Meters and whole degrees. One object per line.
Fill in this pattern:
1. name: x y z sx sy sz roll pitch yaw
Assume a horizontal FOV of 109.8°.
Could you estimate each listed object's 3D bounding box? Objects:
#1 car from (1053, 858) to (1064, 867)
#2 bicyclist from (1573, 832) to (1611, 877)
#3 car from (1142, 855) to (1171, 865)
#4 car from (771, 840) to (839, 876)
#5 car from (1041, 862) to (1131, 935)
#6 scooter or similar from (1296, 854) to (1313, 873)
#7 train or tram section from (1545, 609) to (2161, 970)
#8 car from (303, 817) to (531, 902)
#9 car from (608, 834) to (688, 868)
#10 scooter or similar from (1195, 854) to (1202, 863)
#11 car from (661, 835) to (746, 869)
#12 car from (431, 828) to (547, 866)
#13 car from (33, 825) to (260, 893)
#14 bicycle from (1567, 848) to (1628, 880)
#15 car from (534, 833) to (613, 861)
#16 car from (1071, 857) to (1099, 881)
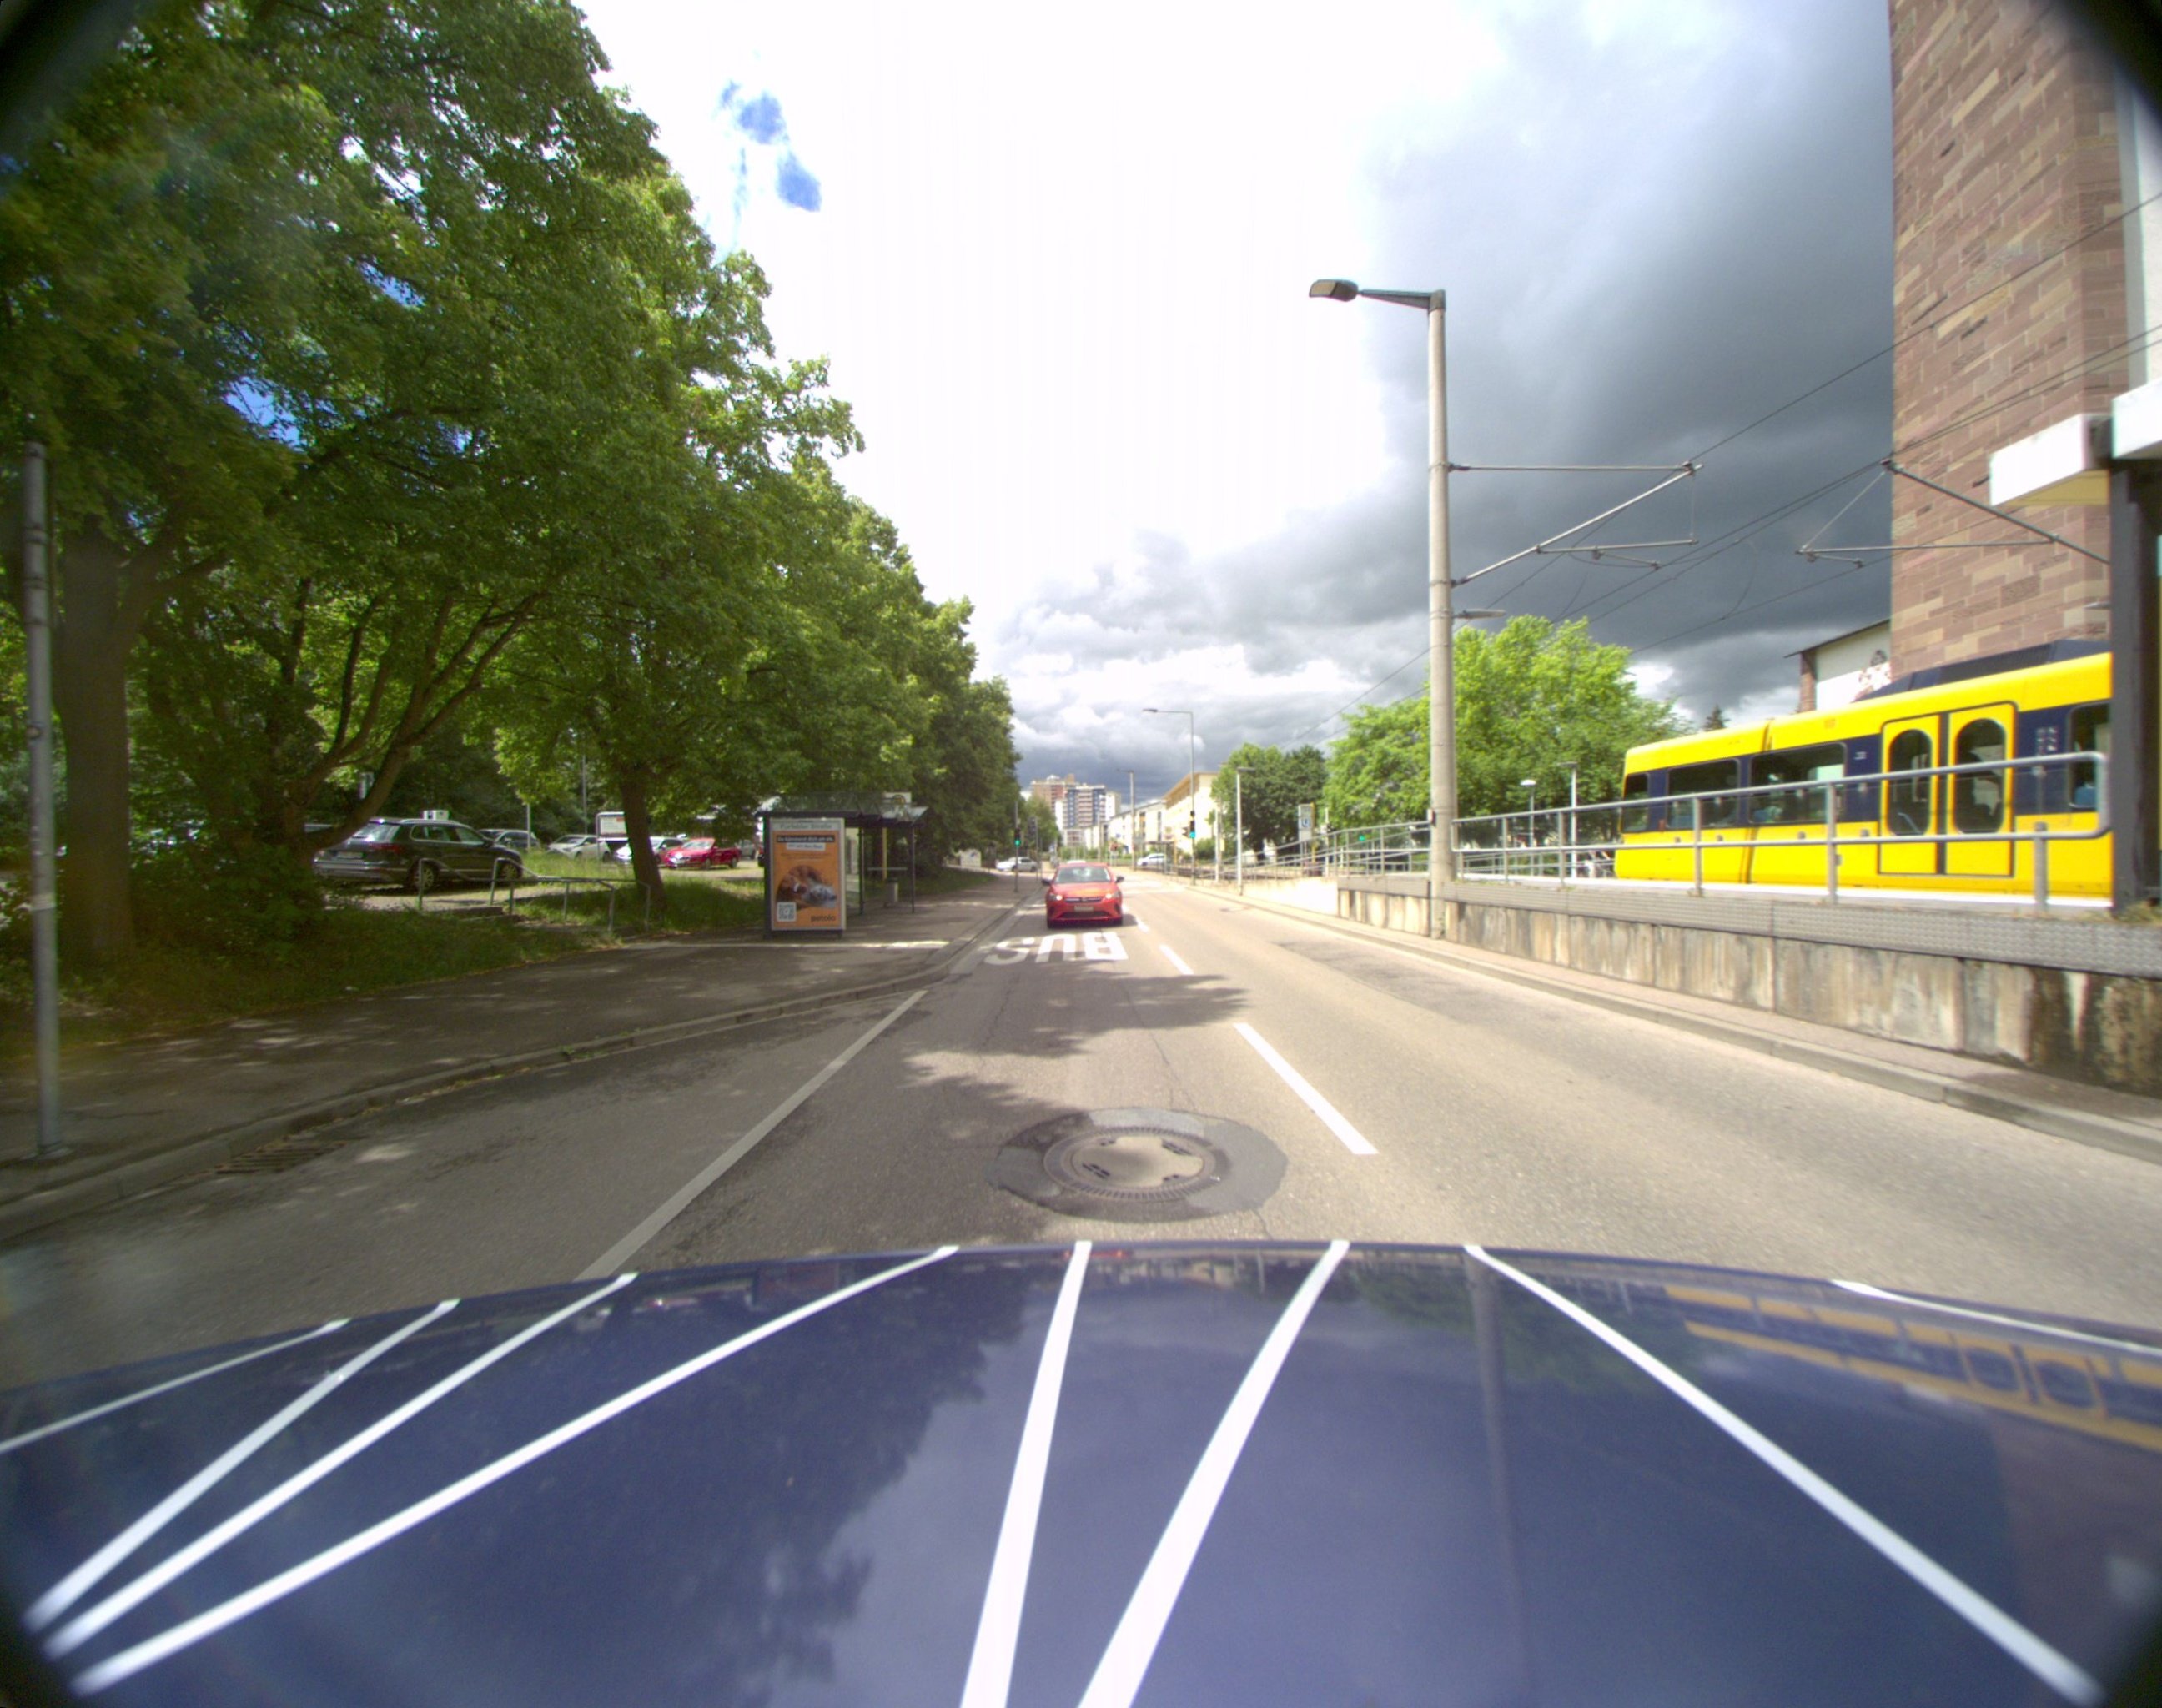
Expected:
1. car: -3.848 1.461 129.809 1.760 1.570 4.020 0 0 -4
2. bicyclist: 16.801 0.009 24.994 0.635 1.421 0.790 -3 1 0
3. car: 11.048 0.852 112.001 4.134 1.286 1.632 2 0 3
4. car: -12.725 0.173 35.298 1.631 1.505 4.138 2 0 0
5. car: -0.004 0.967 18.278 1.784 1.433 4.129 -3 0 -4
6. scooter or similar: 15.057 0.655 51.241 0.651 1.229 1.401 -2 -1 0
7. train or tram section: 11.908 -0.679 7.327 3.116 3.444 18.823 -3 0 0
8. car: -15.301 0.054 17.876 1.692 1.685 4.260 2 2 -1
9. car: -20.192 -0.136 35.600 1.635 1.469 3.662 2 0 0
10. scooter or similar: 15.204 0.611 98.320 0.606 1.108 0.821 -2 1 -2
11. car: -17.810 -0.088 36.120 1.756 1.469 4.544 2 0 0
12. car: -26.472 -0.295 34.193 2.064 1.615 4.099 0 0 -2
13. car: -20.041 0.060 16.476 1.411 1.295 2.858 2 2 -1
14. bicycle: 16.816 0.303 24.787 0.639 0.988 1.928 -3 0 0
15. car: -26.270 -0.345 39.472 1.635 1.320 3.662 2 0 0
16. car: 0.206 0.918 48.440 1.499 1.477 3.519 0 0 -4
